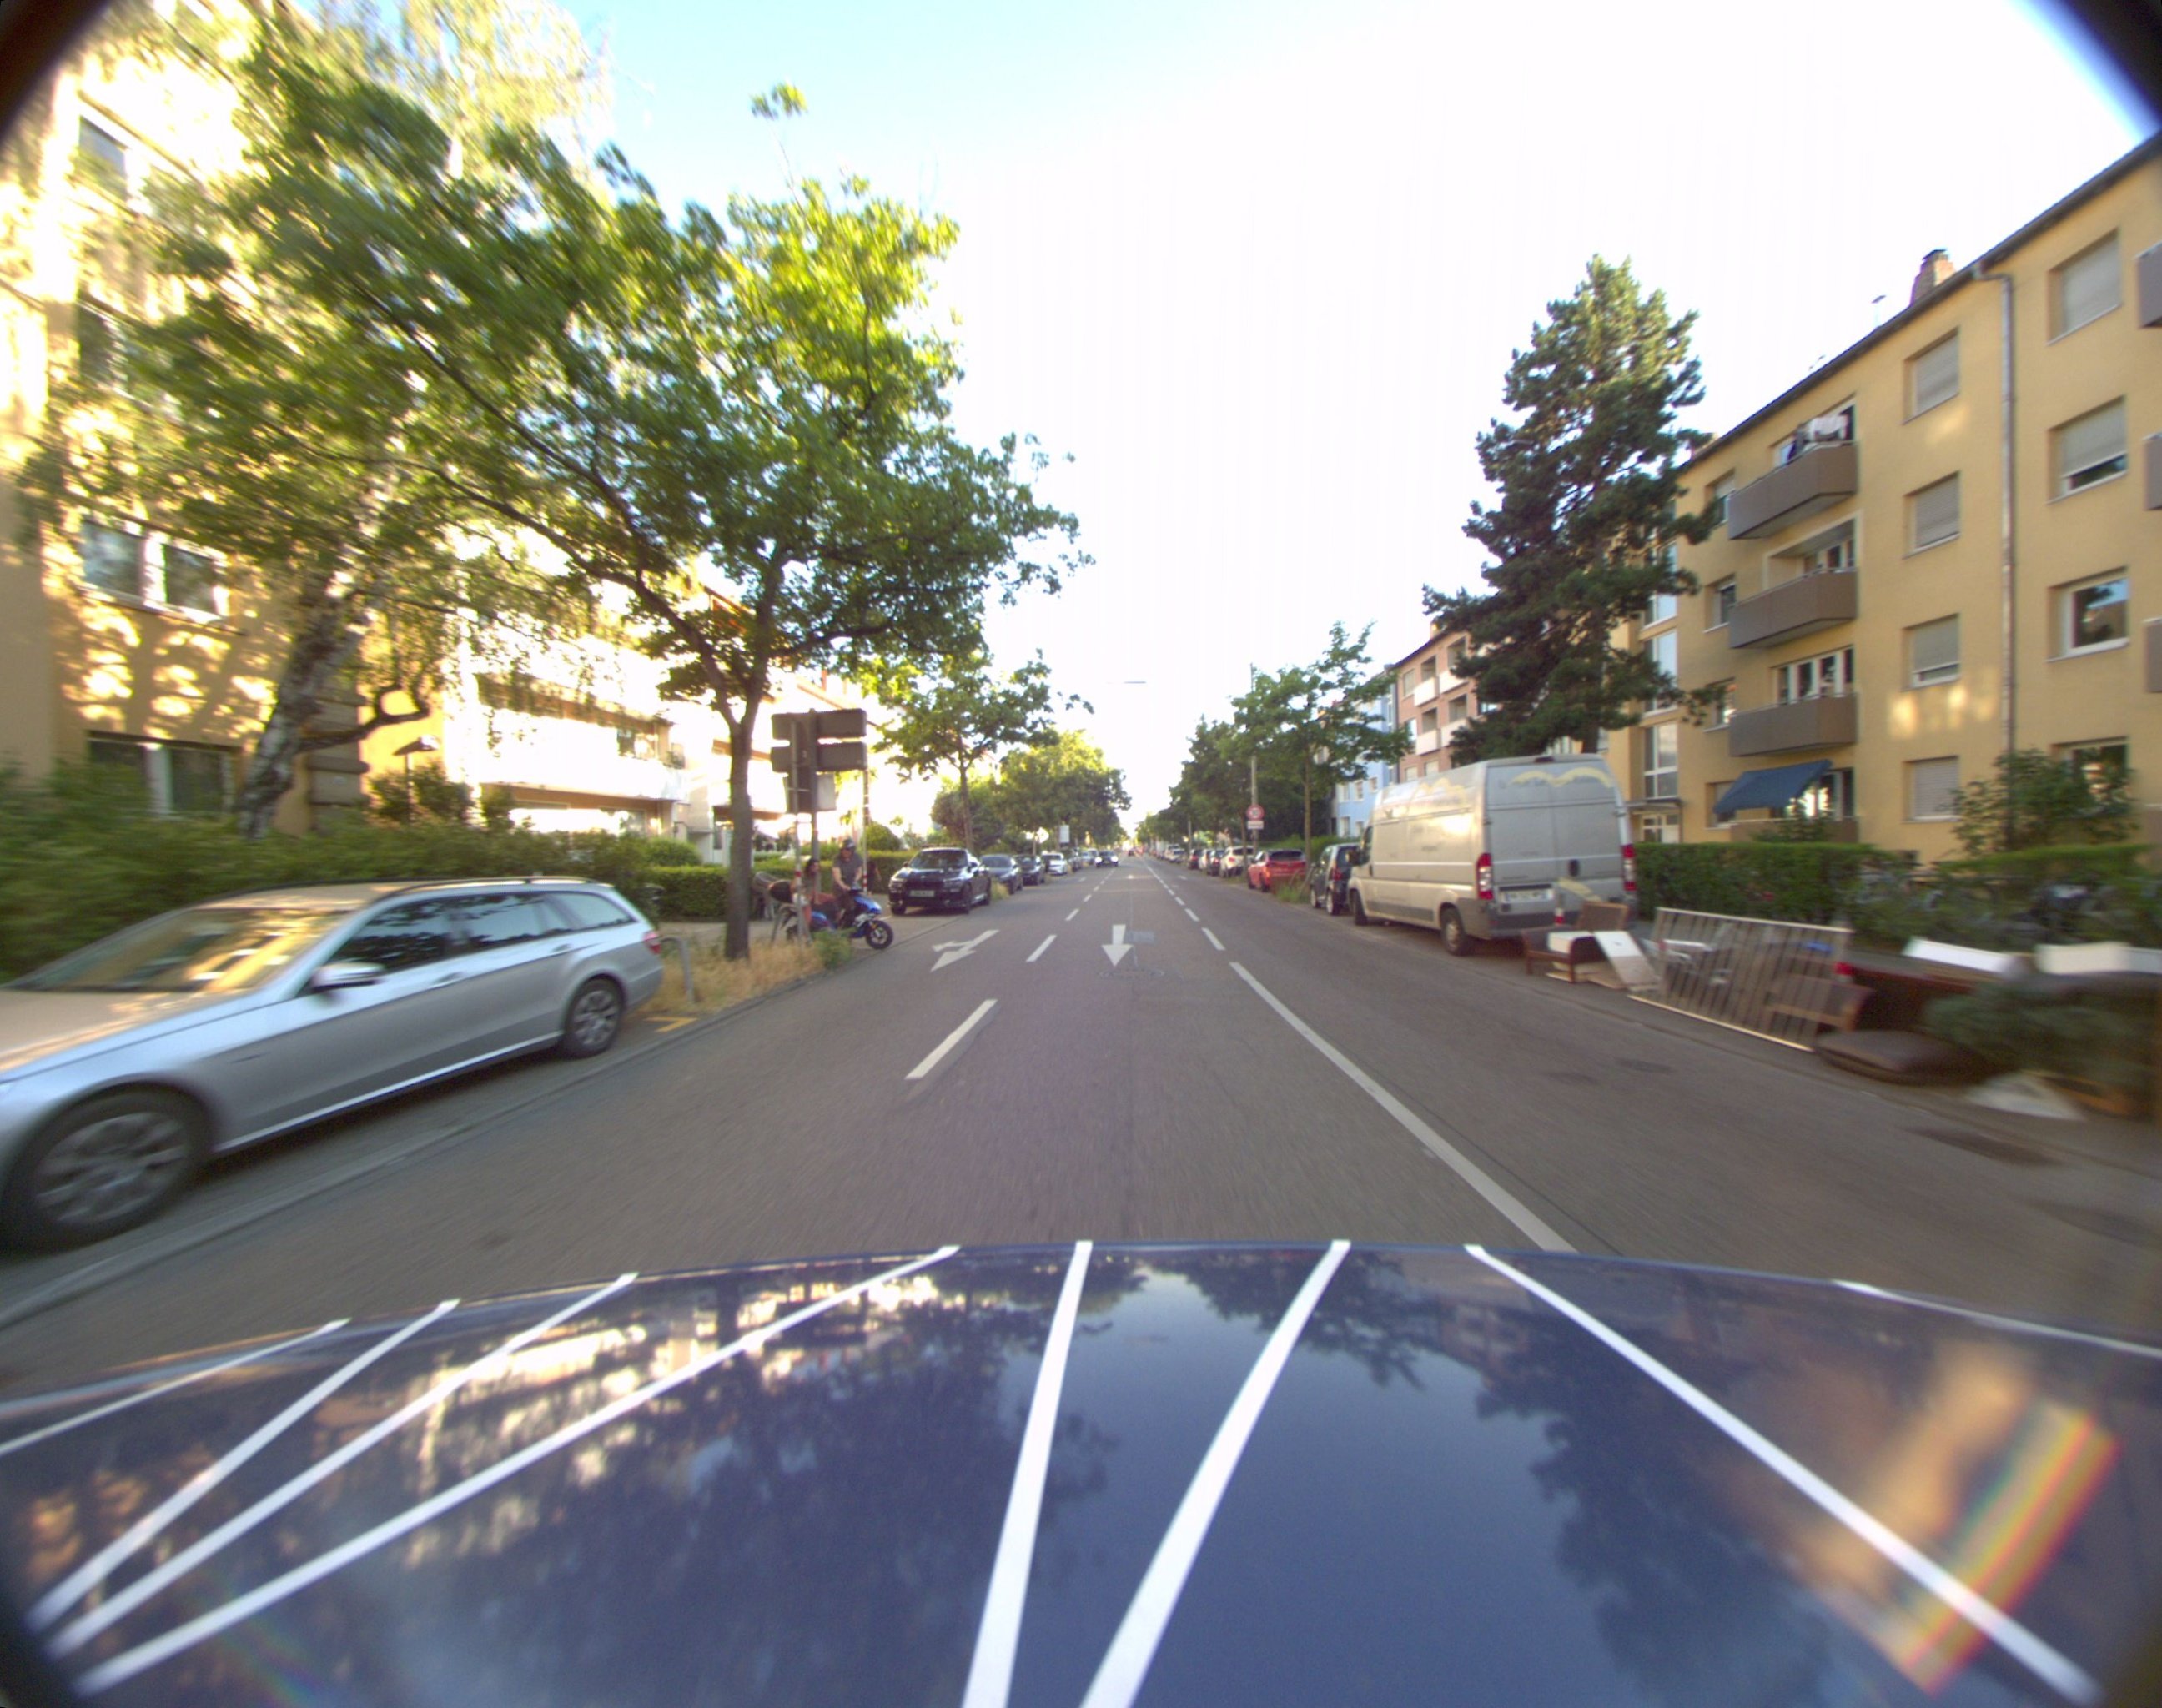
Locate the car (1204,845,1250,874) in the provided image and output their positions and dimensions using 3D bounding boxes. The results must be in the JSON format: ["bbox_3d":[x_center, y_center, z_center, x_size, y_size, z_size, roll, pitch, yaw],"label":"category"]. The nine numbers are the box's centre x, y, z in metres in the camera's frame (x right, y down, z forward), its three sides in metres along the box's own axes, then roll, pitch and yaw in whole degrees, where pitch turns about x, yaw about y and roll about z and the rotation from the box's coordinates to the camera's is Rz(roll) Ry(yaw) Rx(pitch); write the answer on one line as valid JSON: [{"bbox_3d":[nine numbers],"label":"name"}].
[{"bbox_3d":[8.154,0.269,42.781,1.998,1.439,4.459,-1,1,3],"label":"car"}]

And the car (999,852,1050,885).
[{"bbox_3d":[-2.636,0.633,36.421,1.774,1.440,4.485,-1,1,4],"label":"car"}]

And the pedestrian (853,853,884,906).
[{"bbox_3d":[-6.668,0.794,23.866,0.748,1.607,0.580,-1,1,2],"label":"pedestrian"}]

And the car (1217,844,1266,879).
[{"bbox_3d":[7.899,0.307,37.764,1.780,1.579,4.186,-2,1,4],"label":"car"}]

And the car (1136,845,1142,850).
[{"bbox_3d":[17.383,-1.963,228.665,1.726,1.473,3.957,0,1,3],"label":"car"}]

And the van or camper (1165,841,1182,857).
[{"bbox_3d":[11.955,-0.634,98.737,1.808,2.002,4.865,-2,1,3],"label":"van or camper"}]

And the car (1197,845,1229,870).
[{"bbox_3d":[8.641,0.209,50.034,1.594,1.483,3.642,-2,1,3],"label":"car"}]

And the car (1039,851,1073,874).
[{"bbox_3d":[-1.567,0.526,49.641,1.766,1.394,4.334,0,1,4],"label":"car"}]

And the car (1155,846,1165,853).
[{"bbox_3d":[15.362,-0.878,147.407,1.762,1.439,3.787,-2,1,8],"label":"car"}]

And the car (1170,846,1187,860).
[{"bbox_3d":[10.721,-0.151,83.479,1.683,1.434,3.882,-3,0,5],"label":"car"}]

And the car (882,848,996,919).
[{"bbox_3d":[-3.695,0.688,20.741,1.952,1.645,4.796,-1,1,3],"label":"car"}]

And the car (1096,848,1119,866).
[{"bbox_3d":[2.382,0.237,67.595,1.998,1.525,4.000,-2,1,2],"label":"car"}]

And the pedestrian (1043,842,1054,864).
[{"bbox_3d":[-2.581,-0.085,61.240,0.669,1.773,0.764,-4,3,3],"label":"pedestrian"}]

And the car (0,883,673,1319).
[{"bbox_3d":[-5.027,1.063,4.854,1.859,1.503,4.836,0,1,6],"label":"car"}]

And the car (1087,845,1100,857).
[{"bbox_3d":[1.822,-0.427,109.717,1.798,1.761,4.000,0,1,1],"label":"car"}]

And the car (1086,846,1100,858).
[{"bbox_3d":[1.669,-0.243,104.328,1.798,1.577,4.000,0,1,1],"label":"car"}]

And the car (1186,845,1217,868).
[{"bbox_3d":[8.713,0.139,55.176,1.841,1.509,4.316,-3,1,5],"label":"car"}]

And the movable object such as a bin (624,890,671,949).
[{"bbox_3d":[-8.136,1.213,14.275,0.494,1.053,0.548,-1,1,16],"label":"movable object such as a bin"}]

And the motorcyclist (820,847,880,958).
[{"bbox_3d":[-3.841,0.771,12.708,0.738,1.768,1.087,-2,1,-8],"label":"motorcyclist"}]

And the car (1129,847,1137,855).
[{"bbox_3d":[11.139,-0.611,162.897,1.698,1.570,3.831,-2,1,2],"label":"car"}]

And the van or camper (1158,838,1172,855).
[{"bbox_3d":[13.340,-1.214,121.300,1.917,2.528,5.335,-2,1,4],"label":"van or camper"}]

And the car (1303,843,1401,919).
[{"bbox_3d":[6.147,0.568,17.486,1.406,1.539,2.762,-3,1,5],"label":"car"}]

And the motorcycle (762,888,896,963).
[{"bbox_3d":[-4.085,1.148,12.457,1.931,1.065,0.819,-2,1,-8],"label":"motorcycle"}]

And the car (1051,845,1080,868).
[{"bbox_3d":[-1.104,0.179,57.541,1.921,1.672,4.708,0,1,2],"label":"car"}]

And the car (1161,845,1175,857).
[{"bbox_3d":[12.270,-0.439,107.449,1.808,1.489,3.957,-2,1,5],"label":"car"}]

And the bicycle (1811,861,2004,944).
[{"bbox_3d":[10.911,0.631,10.072,1.789,0.976,0.590,-3,1,5],"label":"bicycle"}]

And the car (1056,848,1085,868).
[{"bbox_3d":[-0.838,0.333,62.481,1.788,1.495,4.832,-2,1,5],"label":"car"}]

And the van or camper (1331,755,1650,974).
[{"bbox_3d":[6.172,0.102,12.610,2.040,2.648,6.015,-3,1,1],"label":"van or camper"}]

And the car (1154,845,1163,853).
[{"bbox_3d":[16.798,-1.103,165.341,1.808,1.588,3.957,-2,1,5],"label":"car"}]

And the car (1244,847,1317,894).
[{"bbox_3d":[6.896,0.522,26.643,1.721,1.443,3.924,-2,0,4],"label":"car"}]

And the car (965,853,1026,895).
[{"bbox_3d":[-3.255,0.704,29.641,1.720,1.464,4.431,-1,1,2],"label":"car"}]

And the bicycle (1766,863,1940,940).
[{"bbox_3d":[10.961,0.664,10.824,1.762,0.976,0.590,-3,1,5],"label":"bicycle"}]

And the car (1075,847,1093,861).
[{"bbox_3d":[0.335,-0.021,80.689,1.738,1.435,4.305,-1,0,3],"label":"car"}]

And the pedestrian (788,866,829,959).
[{"bbox_3d":[-4.392,0.923,12.278,0.439,1.422,0.704,-2,1,-8],"label":"pedestrian"}]
